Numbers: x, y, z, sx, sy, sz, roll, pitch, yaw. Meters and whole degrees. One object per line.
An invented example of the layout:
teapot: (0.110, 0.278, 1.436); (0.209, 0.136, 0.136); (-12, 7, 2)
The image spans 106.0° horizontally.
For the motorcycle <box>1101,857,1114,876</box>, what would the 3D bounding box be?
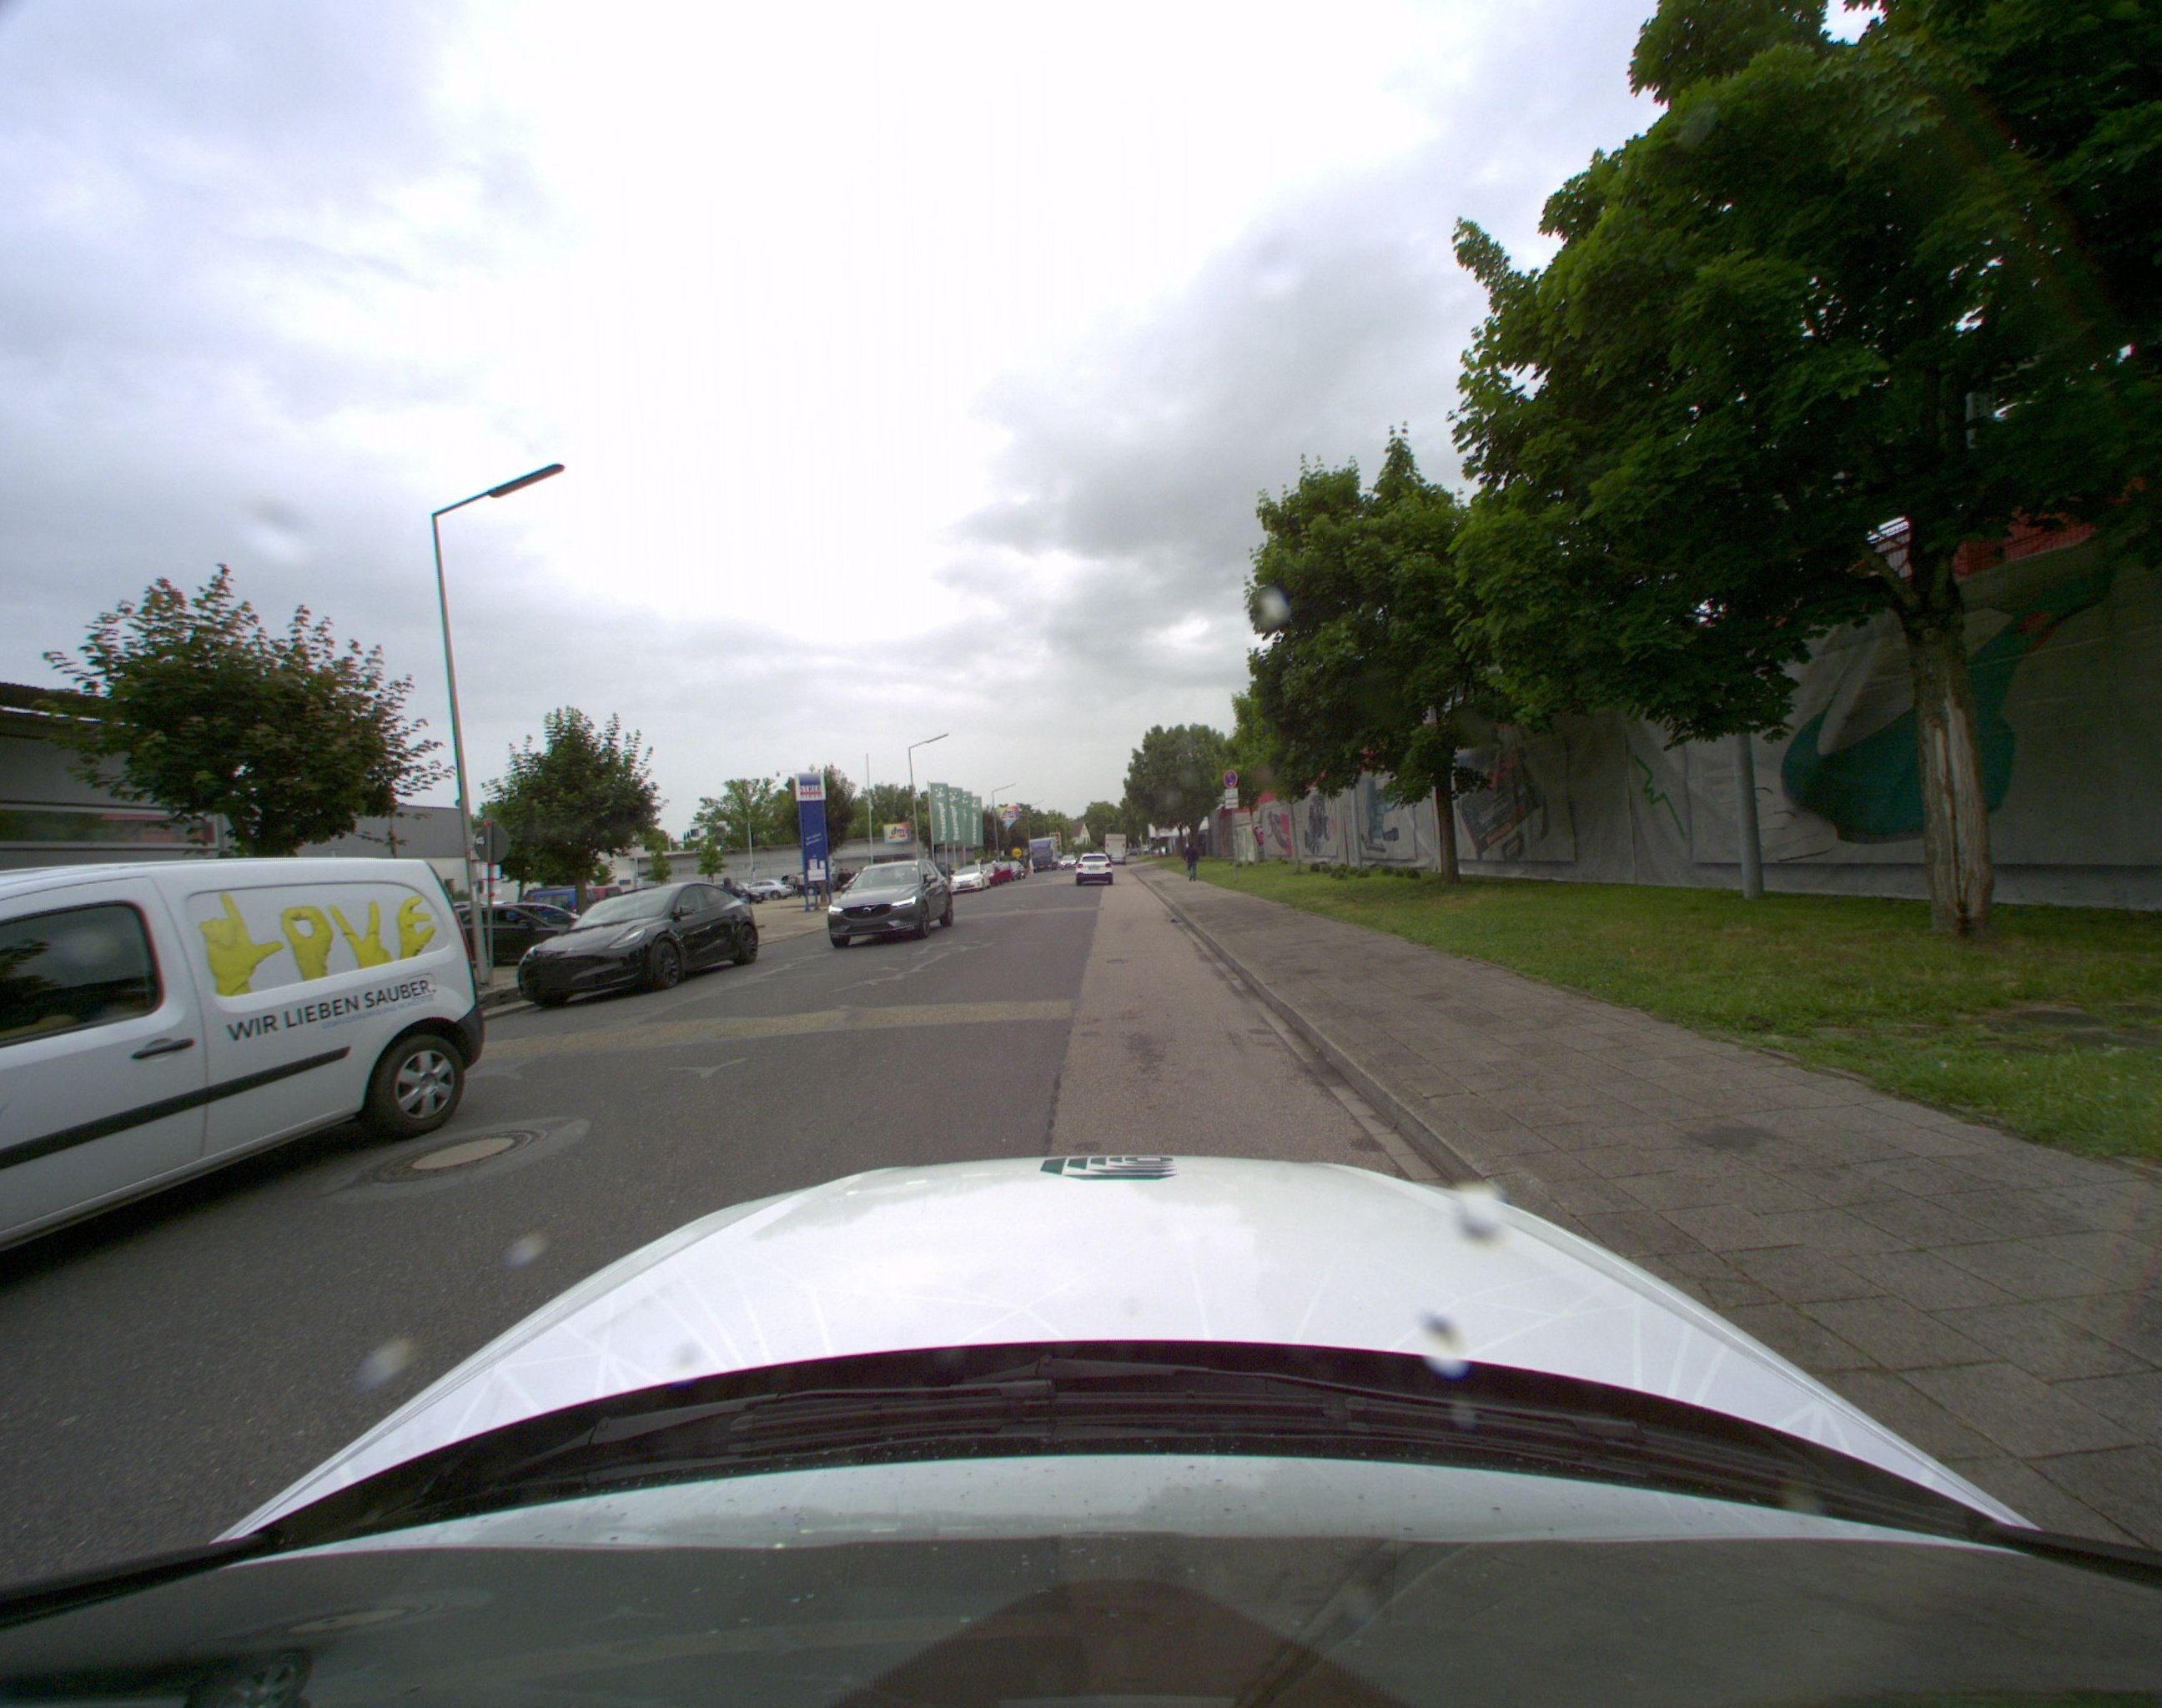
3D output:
motorcycle: (1.712, 0.810, 52.822); (0.638, 1.178, 2.116); (-4, 0, 4)

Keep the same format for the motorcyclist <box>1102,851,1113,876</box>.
motorcyclist: (1.718, 0.632, 52.714); (0.622, 1.554, 0.605); (-4, 0, 4)

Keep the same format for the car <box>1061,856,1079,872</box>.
car: (-1.142, 1.074, 85.829); (1.592, 1.528, 3.530); (-6, -1, 3)

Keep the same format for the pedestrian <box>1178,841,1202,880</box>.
pedestrian: (4.716, 0.297, 35.278); (0.915, 1.635, 0.853); (-3, -1, 4)

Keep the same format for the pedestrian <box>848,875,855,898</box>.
pedestrian: (-15.959, 2.229, 56.700); (0.330, 1.570, 0.502); (-4, 0, -11)

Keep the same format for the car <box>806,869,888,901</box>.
car: (-13.726, 1.817, 47.950); (4.198, 1.463, 1.949); (-5, 0, -6)

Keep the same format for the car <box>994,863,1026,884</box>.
car: (-5.528, 1.515, 63.698); (1.890, 1.367, 4.002); (-4, 0, 2)

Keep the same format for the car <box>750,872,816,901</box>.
car: (-21.743, 2.365, 59.434); (3.972, 1.669, 1.877); (-5, 0, 2)

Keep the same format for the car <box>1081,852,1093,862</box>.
car: (1.107, 0.536, 146.486); (1.986, 1.684, 4.001); (-3, -1, 1)

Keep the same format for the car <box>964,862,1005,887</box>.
car: (-6.153, 1.295, 52.298); (1.890, 1.367, 4.002); (-4, 0, 2)

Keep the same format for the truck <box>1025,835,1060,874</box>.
truck: (-4.279, 0.055, 91.306); (2.962, 3.955, 6.409); (-6, 0, 3)

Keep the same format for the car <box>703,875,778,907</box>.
car: (-22.258, 2.414, 53.292); (3.972, 1.669, 1.877); (-5, 0, 2)

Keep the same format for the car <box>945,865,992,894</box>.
car: (-6.250, 1.387, 45.803); (1.891, 1.367, 4.001); (-5, 0, 1)

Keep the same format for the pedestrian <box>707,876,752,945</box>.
pedestrian: (-9.193, 1.462, 21.312); (0.773, 1.715, 0.696); (-4, 0, -2)

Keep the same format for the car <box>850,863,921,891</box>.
car: (-12.763, 1.489, 53.344); (4.127, 1.463, 1.896); (-5, 0, -4)

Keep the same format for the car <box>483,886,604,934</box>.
car: (-23.563, 2.454, 35.792); (3.972, 1.669, 1.877); (-5, 0, 2)

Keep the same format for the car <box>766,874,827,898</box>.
car: (-22.064, 2.513, 63.324); (3.971, 1.492, 1.787); (-4, 0, 2)

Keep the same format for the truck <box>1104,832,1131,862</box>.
truck: (4.658, -0.807, 105.436); (3.124, 3.584, 10.052); (-3, -1, 1)

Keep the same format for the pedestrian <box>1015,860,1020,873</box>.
pedestrian: (-7.376, 1.445, 94.700); (0.401, 1.531, 0.485); (-5, 0, -4)

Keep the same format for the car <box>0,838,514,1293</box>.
car: (-5.056, 0.914, 3.711); (1.683, 1.760, 4.138); (-7, 0, 3)

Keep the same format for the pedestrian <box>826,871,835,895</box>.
pedestrian: (-17.251, 1.991, 56.095); (0.456, 1.642, 0.372); (-4, 0, -16)

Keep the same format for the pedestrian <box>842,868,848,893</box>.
pedestrian: (-16.367, 1.845, 56.517); (0.262, 1.729, 0.421); (-4, 0, -10)

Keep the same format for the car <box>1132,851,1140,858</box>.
car: (13.484, 0.060, 200.144); (1.879, 1.683, 4.257); (-2, 0, 3)

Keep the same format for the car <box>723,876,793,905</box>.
car: (-22.602, 2.540, 57.101); (3.972, 1.669, 1.877); (-5, 0, 2)

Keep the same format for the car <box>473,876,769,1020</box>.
car: (-7.004, 1.320, 13.108); (1.939, 1.526, 4.405); (-8, 0, 2)

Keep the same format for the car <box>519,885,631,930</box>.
car: (-23.685, 2.495, 38.212); (3.972, 1.669, 1.877); (-5, 0, 2)

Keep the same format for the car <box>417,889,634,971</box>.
car: (-13.282, 1.793, 19.646); (3.858, 1.620, 1.929); (-3, 0, 2)

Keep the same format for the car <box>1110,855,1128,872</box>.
car: (4.460, 1.098, 96.358); (1.986, 1.806, 4.001); (-3, -1, 1)

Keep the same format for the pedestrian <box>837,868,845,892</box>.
pedestrian: (-16.484, 1.776, 55.908); (0.359, 1.570, 0.502); (-4, 0, -11)

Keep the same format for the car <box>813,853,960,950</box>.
car: (-4.066, 0.919, 17.844); (1.927, 1.683, 4.496); (-5, 0, 1)

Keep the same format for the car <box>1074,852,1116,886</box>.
car: (0.742, 0.687, 40.428); (1.879, 1.531, 4.257); (-2, 0, 3)
